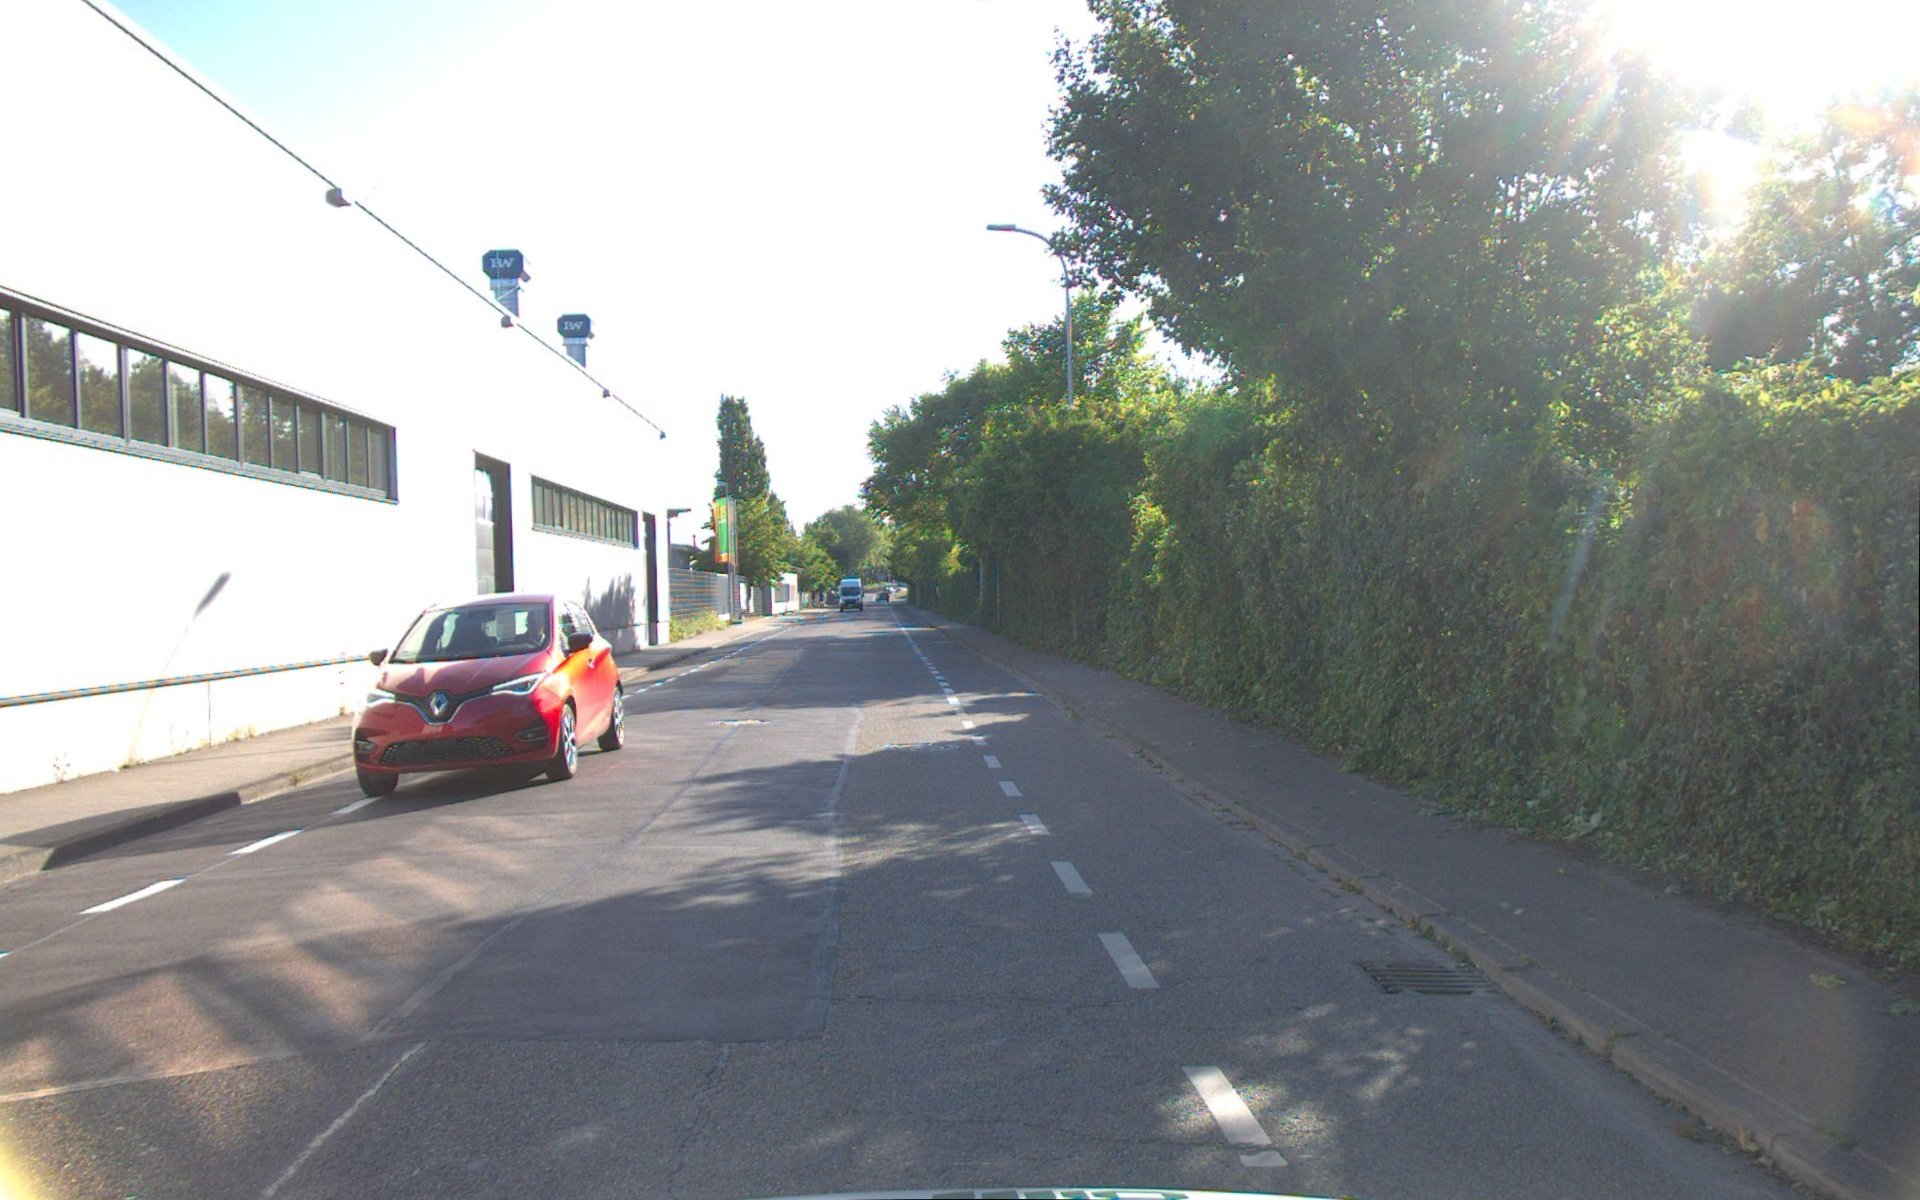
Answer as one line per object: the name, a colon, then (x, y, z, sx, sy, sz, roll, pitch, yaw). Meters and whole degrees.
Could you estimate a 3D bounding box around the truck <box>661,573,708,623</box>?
truck: (-16.339, -0.122, 98.211, 2.037, 2.809, 5.761, -2, 1, -3)

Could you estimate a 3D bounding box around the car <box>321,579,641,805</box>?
car: (-4.042, 0.705, 14.651, 1.686, 1.566, 4.073, -5, 0, -3)

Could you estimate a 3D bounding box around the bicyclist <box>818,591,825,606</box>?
bicyclist: (-14.494, -0.165, 173.035, 0.675, 1.559, 0.722, 0, 0, -3)

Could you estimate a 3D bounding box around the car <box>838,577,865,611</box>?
car: (-9.499, -0.533, 145.339, 2.081, 2.828, 5.924, -4, 0, -2)

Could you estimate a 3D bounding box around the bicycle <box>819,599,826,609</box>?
bicycle: (-14.412, 0.421, 173.048, 0.675, 1.052, 1.350, 0, 0, -3)
